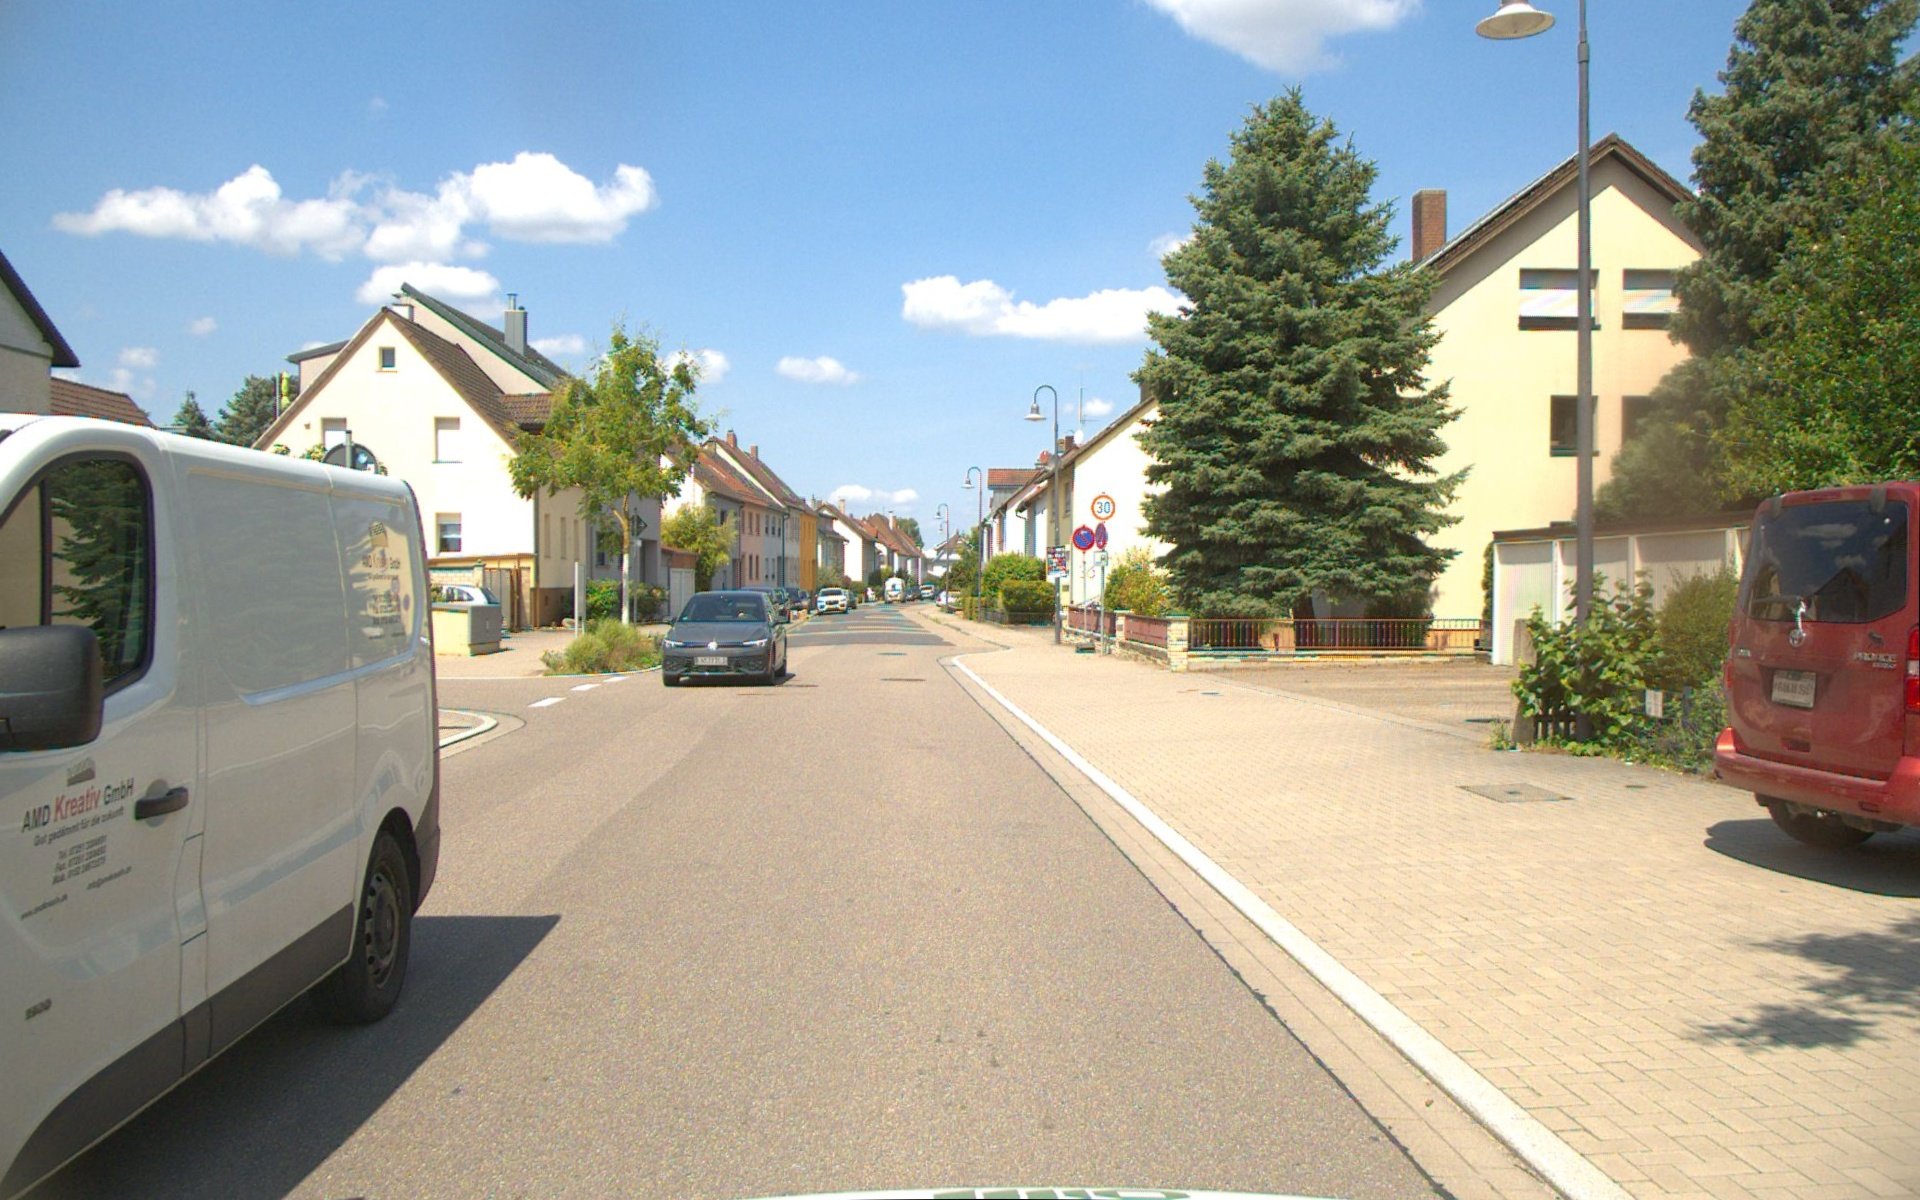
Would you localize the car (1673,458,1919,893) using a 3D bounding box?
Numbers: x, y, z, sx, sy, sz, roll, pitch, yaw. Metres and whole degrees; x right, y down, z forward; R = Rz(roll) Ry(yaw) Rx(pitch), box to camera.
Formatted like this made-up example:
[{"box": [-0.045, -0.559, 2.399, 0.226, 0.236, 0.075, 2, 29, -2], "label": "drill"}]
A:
[{"box": [6.363, 0.394, 8.508, 4.528, 1.927, 2.019, 1, -1, -4], "label": "car"}]

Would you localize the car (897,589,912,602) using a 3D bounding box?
[{"box": [-6.619, -0.550, 197.617, 1.656, 1.530, 3.771, 1, 0, 1], "label": "car"}]

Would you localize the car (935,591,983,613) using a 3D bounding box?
[{"box": [-0.055, 0.172, 121.822, 3.453, 1.490, 1.627, 2, -1, -2], "label": "car"}]

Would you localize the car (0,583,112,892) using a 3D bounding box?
[{"box": [-7.026, 0.657, 8.744, 4.103, 1.596, 1.771, 2, -1, -7], "label": "car"}]

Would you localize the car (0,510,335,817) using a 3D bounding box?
[{"box": [-7.090, 0.381, 11.623, 4.606, 1.957, 1.936, 2, -1, -3], "label": "car"}]

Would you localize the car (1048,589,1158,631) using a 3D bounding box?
[{"box": [5.313, 0.360, 61.878, 3.907, 1.499, 1.745, 0, 0, -3], "label": "car"}]

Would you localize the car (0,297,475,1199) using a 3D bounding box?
[{"box": [-2.813, 0.454, 4.230, 1.982, 1.984, 4.894, 0, 0, -4], "label": "car"}]

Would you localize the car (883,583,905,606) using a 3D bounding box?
[{"box": [-7.011, -0.598, 175.438, 2.003, 2.352, 3.771, 1, -1, 1], "label": "car"}]

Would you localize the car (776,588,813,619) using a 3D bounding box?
[{"box": [-9.201, 0.176, 92.340, 1.774, 1.637, 3.998, 2, 0, -2], "label": "car"}]

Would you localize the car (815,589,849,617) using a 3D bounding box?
[{"box": [-8.134, 0.169, 105.558, 1.812, 1.688, 4.000, 2, 0, 0], "label": "car"}]

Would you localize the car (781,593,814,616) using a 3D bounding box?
[{"box": [-10.249, 0.297, 104.469, 1.638, 1.359, 3.722, 2, 0, 0], "label": "car"}]

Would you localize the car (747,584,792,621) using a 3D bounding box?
[{"box": [-8.911, 0.123, 77.561, 1.743, 1.637, 3.998, 2, 0, -2], "label": "car"}]

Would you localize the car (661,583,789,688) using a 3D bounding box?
[{"box": [-3.798, 0.530, 27.296, 1.728, 1.549, 4.046, -2, 0, -4], "label": "car"}]

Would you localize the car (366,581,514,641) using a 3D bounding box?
[{"box": [-14.241, 0.286, 45.413, 3.452, 1.496, 1.792, 2, 0, 1], "label": "car"}]

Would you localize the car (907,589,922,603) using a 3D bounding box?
[{"box": [-5.667, -0.473, 205.143, 1.656, 1.689, 3.771, 1, 0, 1], "label": "car"}]
